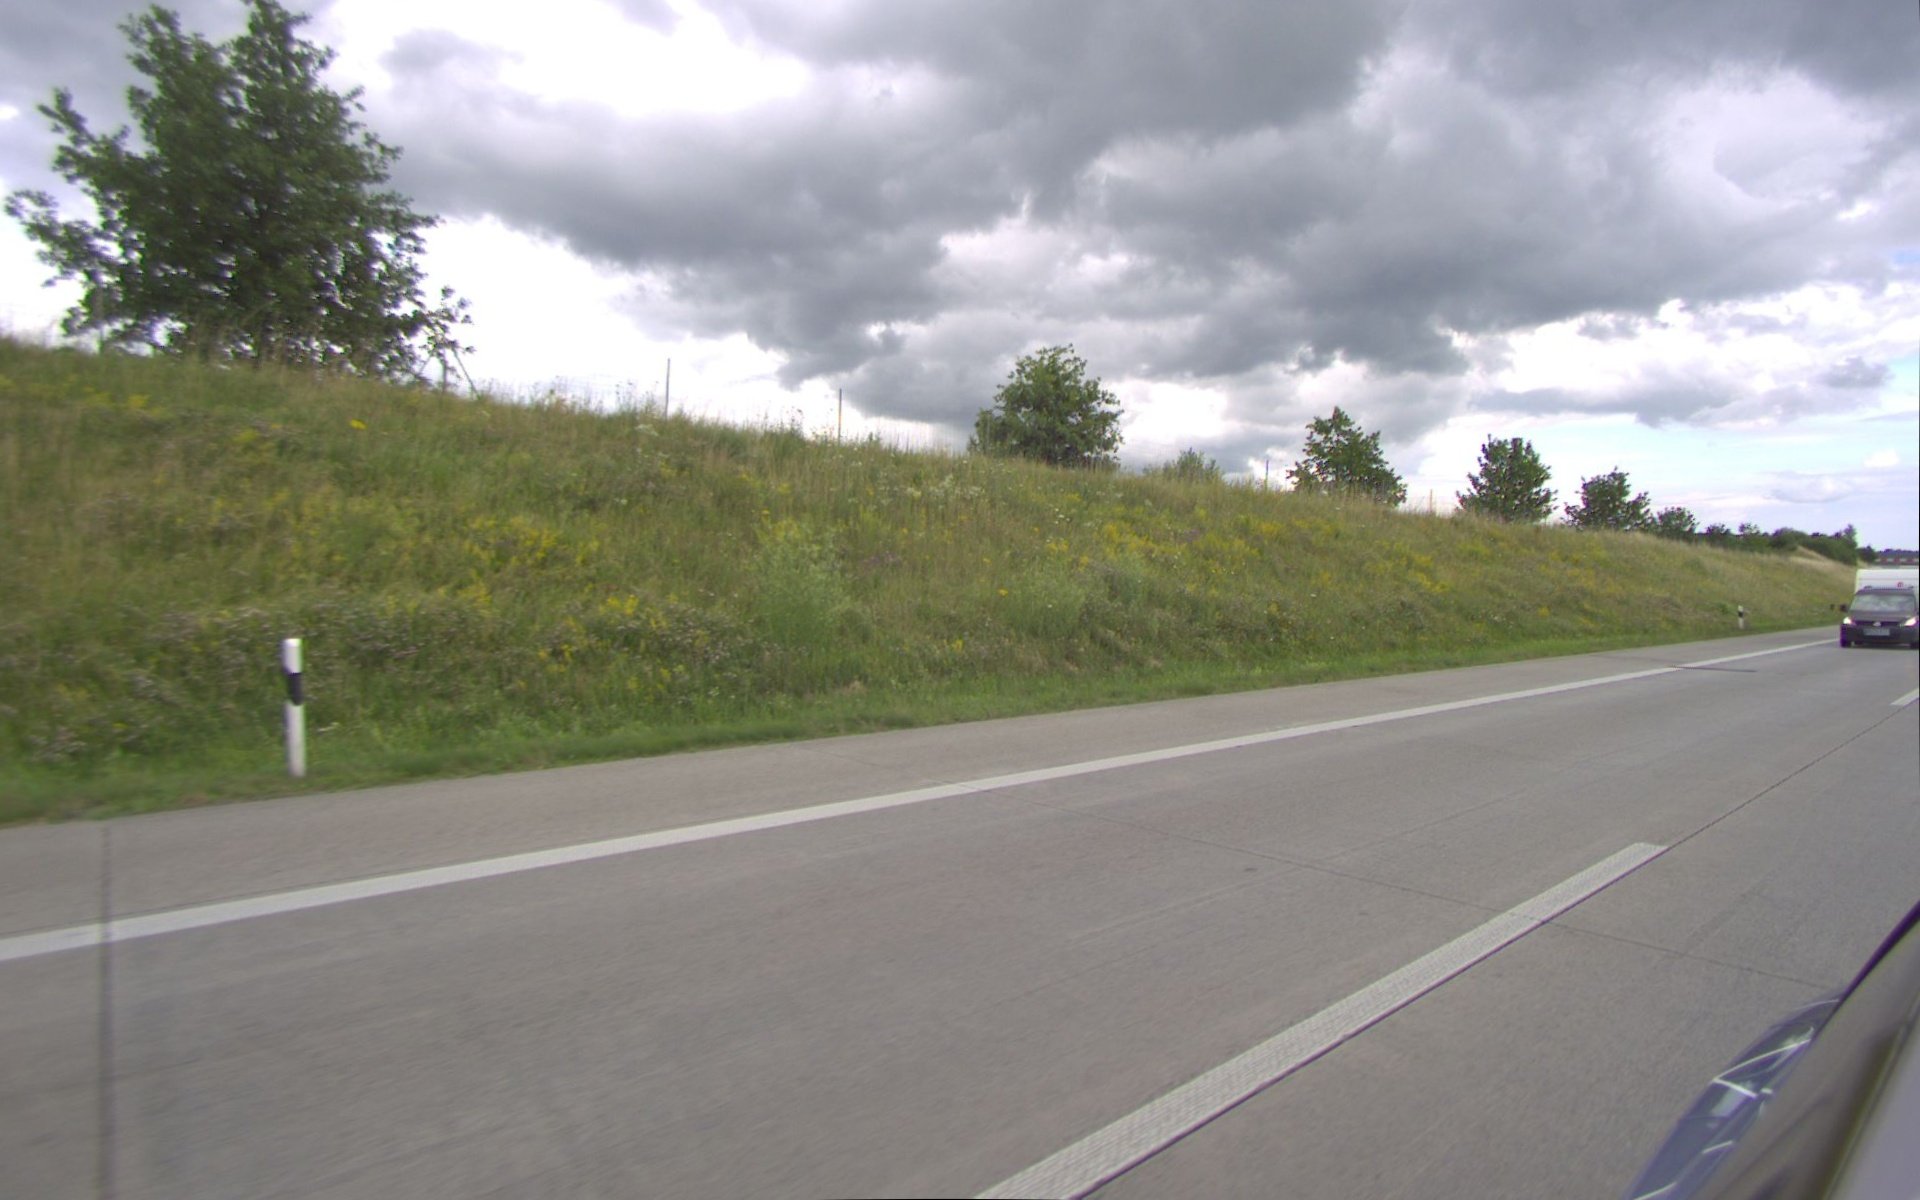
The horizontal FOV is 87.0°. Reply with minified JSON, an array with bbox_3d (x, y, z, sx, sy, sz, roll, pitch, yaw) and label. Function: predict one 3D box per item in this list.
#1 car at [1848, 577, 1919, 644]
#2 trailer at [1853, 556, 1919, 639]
[{"bbox_3d":[27.877,0.247,29.873,4.946,1.832,1.942,-1,1,-42],"label":"car"},{"bbox_3d":[32.091,-0.130,33.830,6.607,2.566,2.612,-1,1,-42],"label":"trailer"}]
